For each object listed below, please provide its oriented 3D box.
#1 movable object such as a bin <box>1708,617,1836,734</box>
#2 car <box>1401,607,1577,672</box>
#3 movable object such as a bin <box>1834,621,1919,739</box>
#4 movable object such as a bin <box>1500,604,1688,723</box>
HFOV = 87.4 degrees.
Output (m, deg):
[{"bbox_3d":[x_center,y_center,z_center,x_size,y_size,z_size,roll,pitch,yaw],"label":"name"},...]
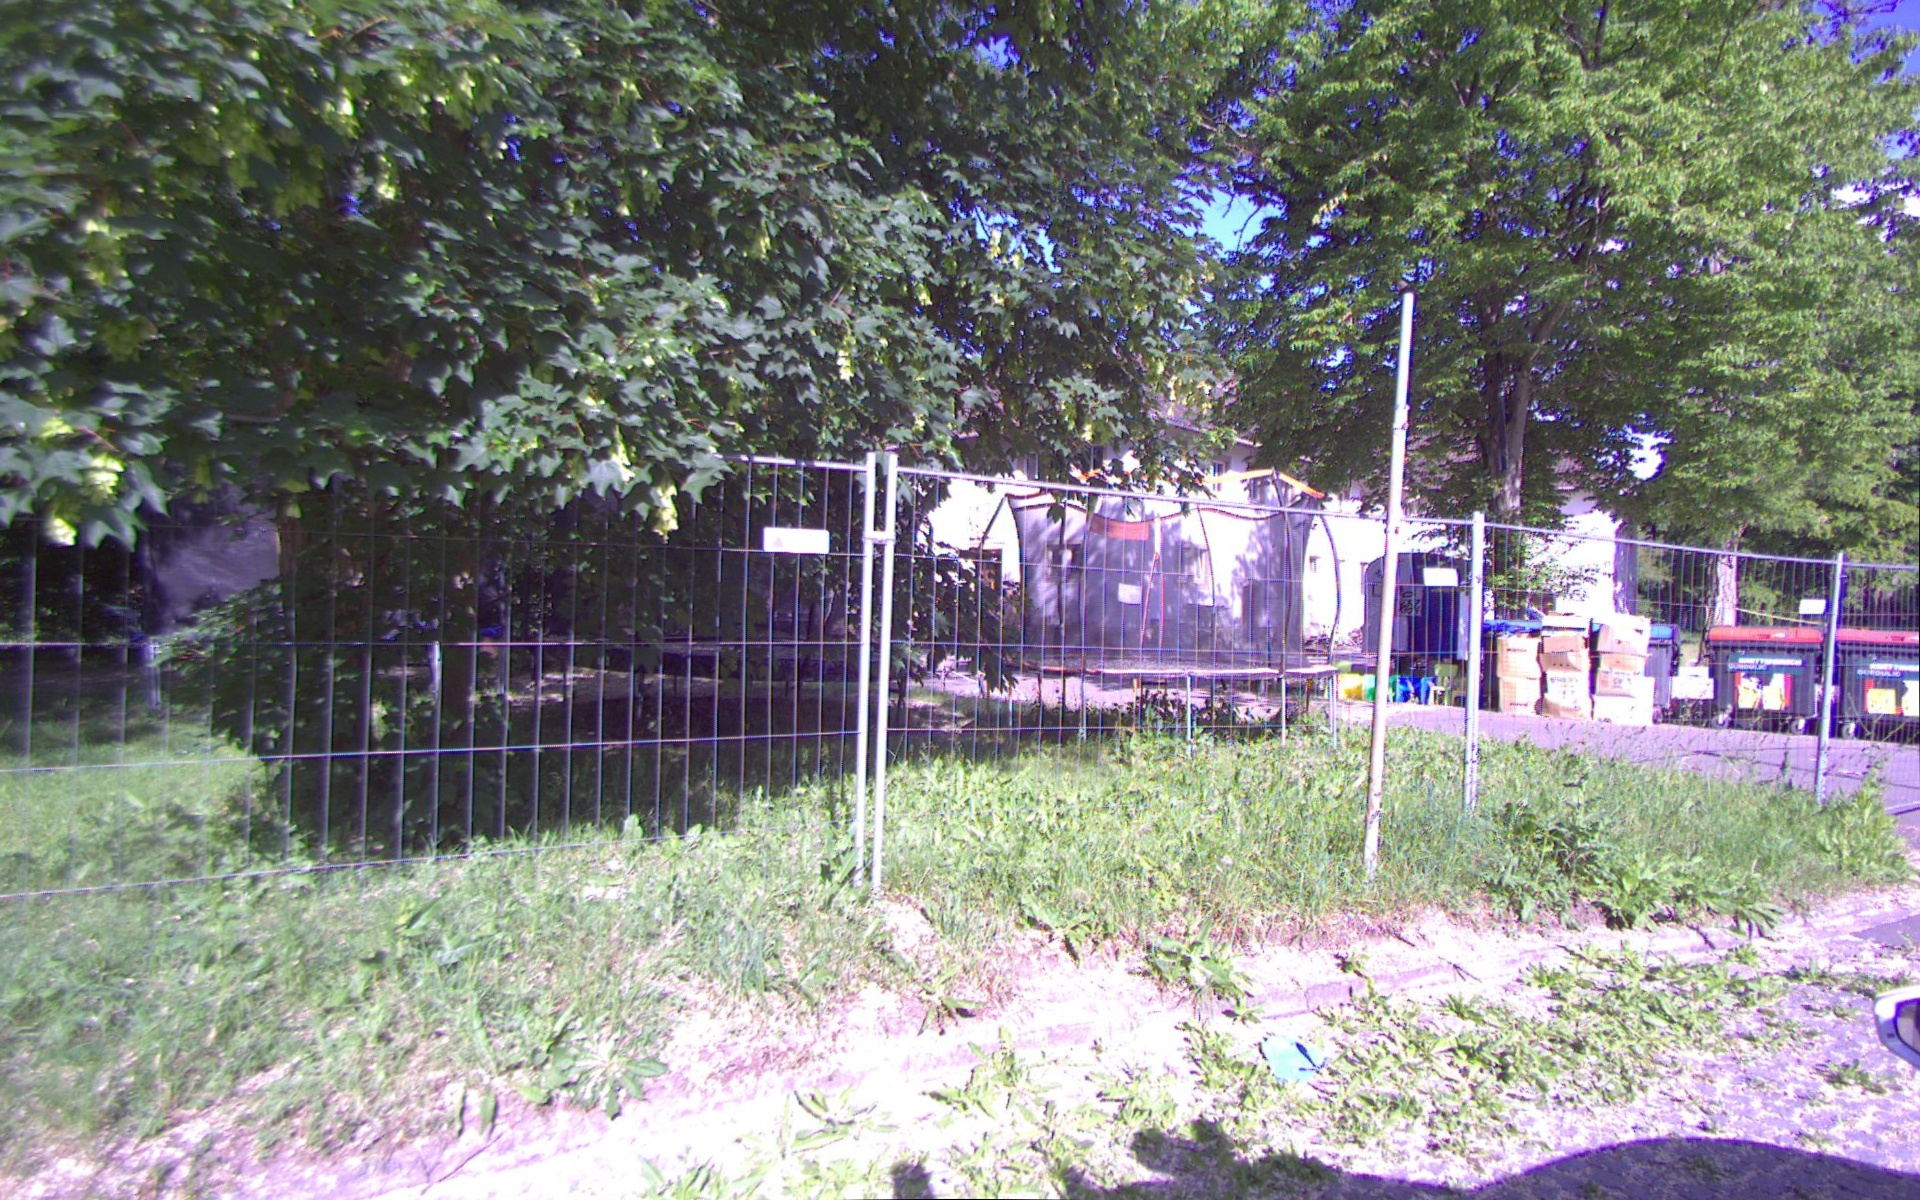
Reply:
[{"bbox_3d":[11.161,1.003,13.866,1.320,1.504,0.804,1,0,38],"label":"movable object such as a bin"},{"bbox_3d":[16.733,1.231,31.909,4.654,1.927,1.991,-1,-2,40],"label":"car"},{"bbox_3d":[12.134,1.017,12.967,1.229,1.464,0.700,1,0,38],"label":"movable object such as a bin"},{"bbox_3d":[9.495,0.893,15.081,2.260,1.612,1.170,1,0,38],"label":"movable object such as a bin"}]
